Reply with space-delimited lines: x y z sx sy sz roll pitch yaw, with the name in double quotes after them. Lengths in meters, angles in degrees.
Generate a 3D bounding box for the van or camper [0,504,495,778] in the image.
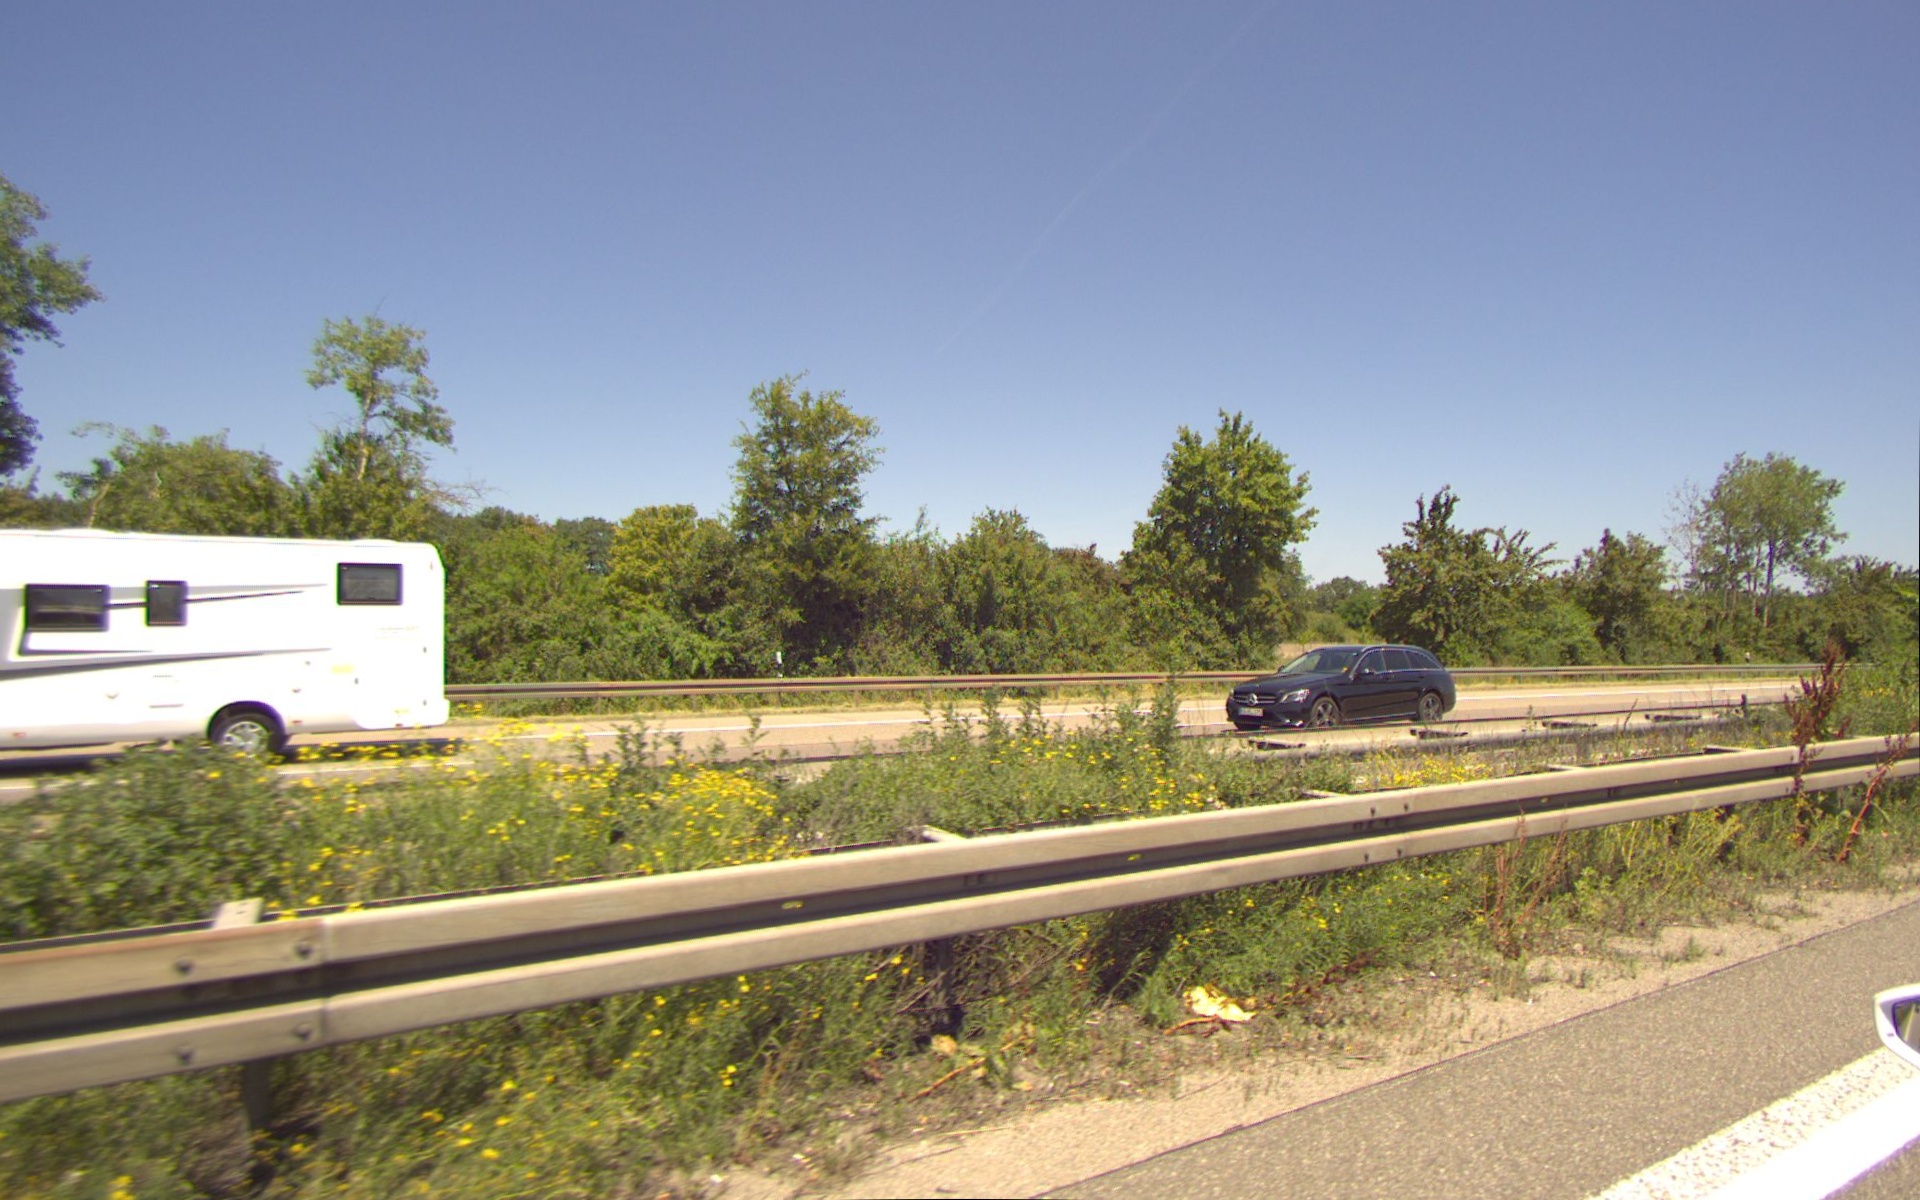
-10.160 0.547 12.912 7.359 3.008 2.837 2 -3 -30 "van or camper"

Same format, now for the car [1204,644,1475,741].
6.702 1.530 17.609 4.697 1.487 1.948 1 -3 -31 "car"
